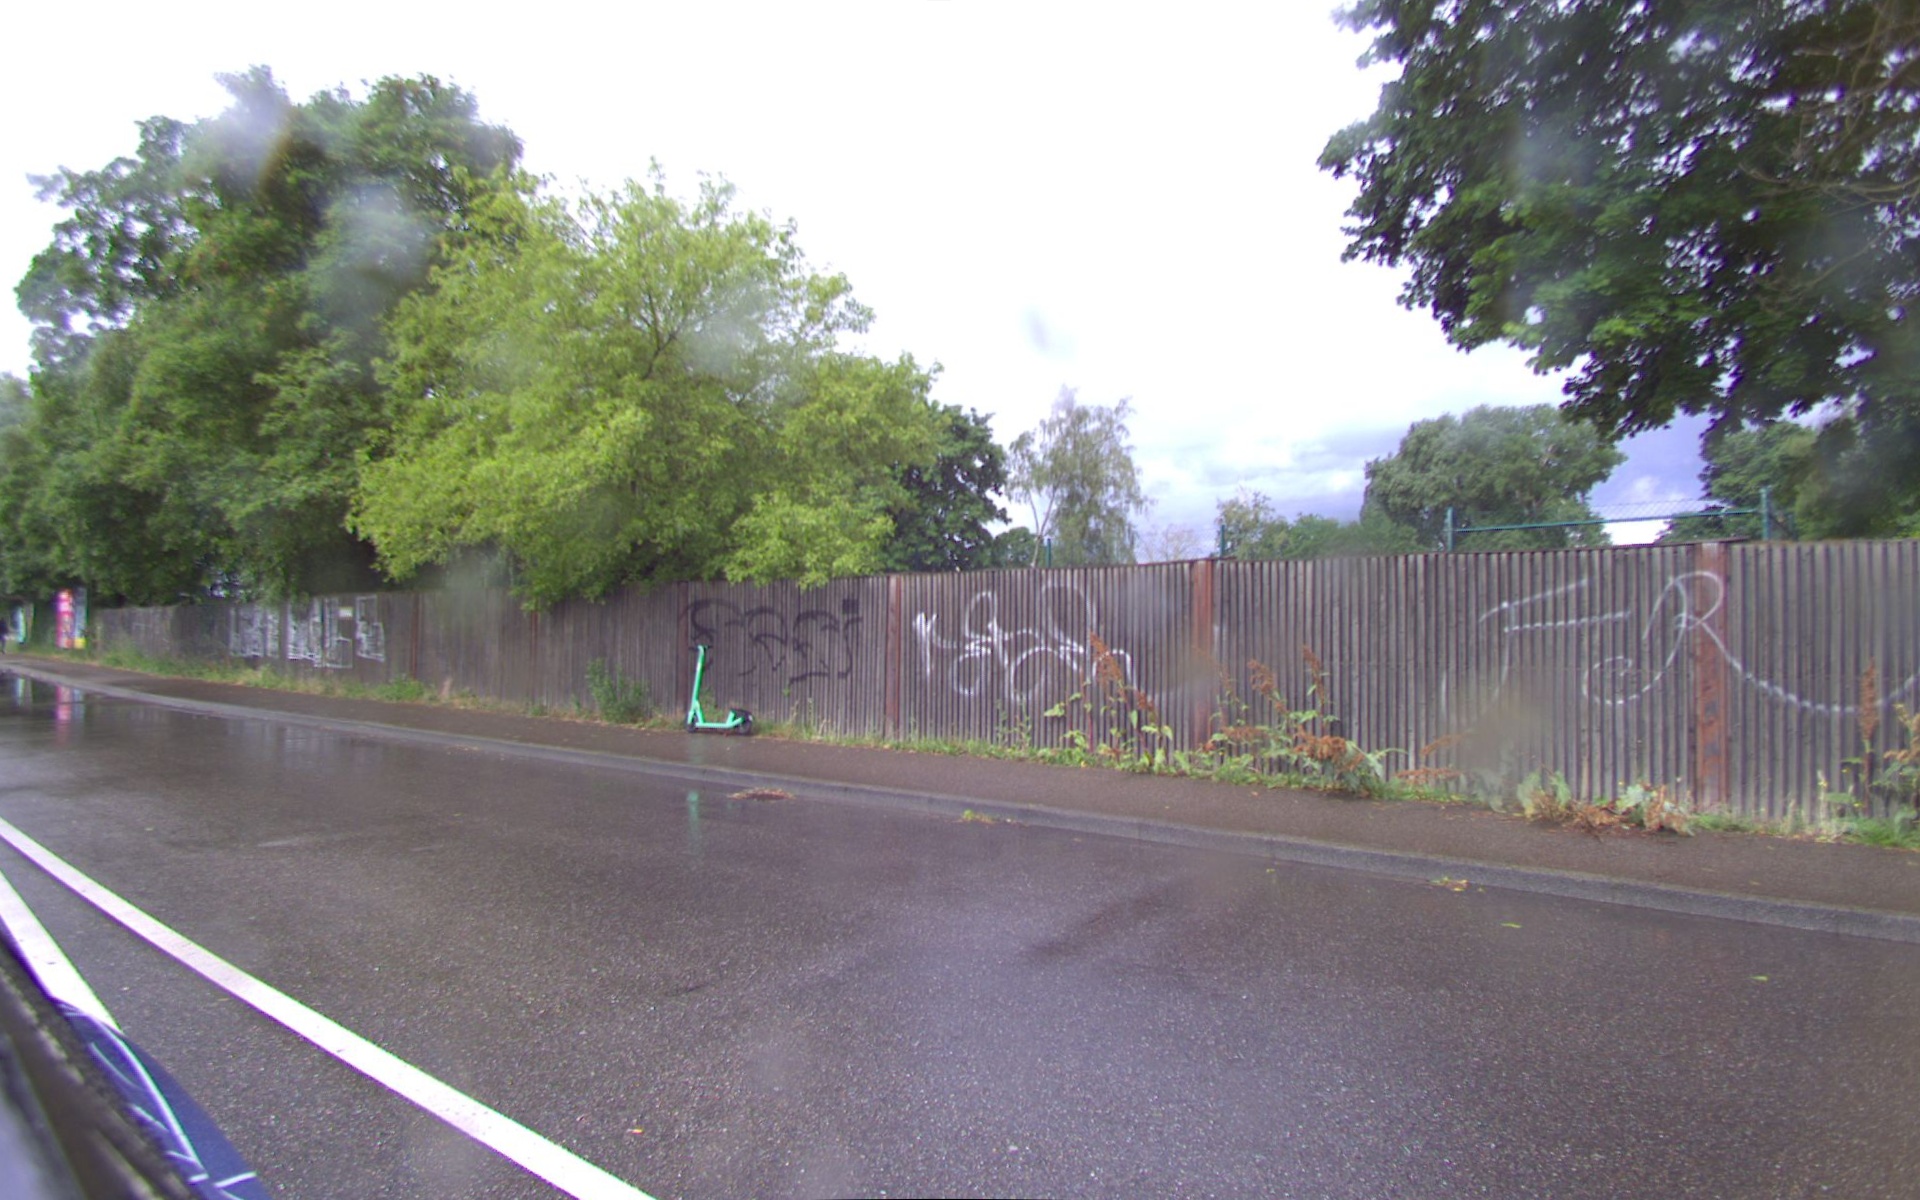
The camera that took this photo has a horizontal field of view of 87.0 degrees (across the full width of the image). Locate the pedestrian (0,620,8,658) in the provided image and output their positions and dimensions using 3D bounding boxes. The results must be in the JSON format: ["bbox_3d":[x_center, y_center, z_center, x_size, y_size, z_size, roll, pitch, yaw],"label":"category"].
[{"bbox_3d":[-45.927,1.853,48.132,0.644,1.783,0.830,-2,-3,41],"label":"pedestrian"}]

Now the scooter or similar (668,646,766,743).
[{"bbox_3d":[-3.140,1.188,13.065,1.205,1.171,0.557,-1,-2,34],"label":"scooter or similar"}]
